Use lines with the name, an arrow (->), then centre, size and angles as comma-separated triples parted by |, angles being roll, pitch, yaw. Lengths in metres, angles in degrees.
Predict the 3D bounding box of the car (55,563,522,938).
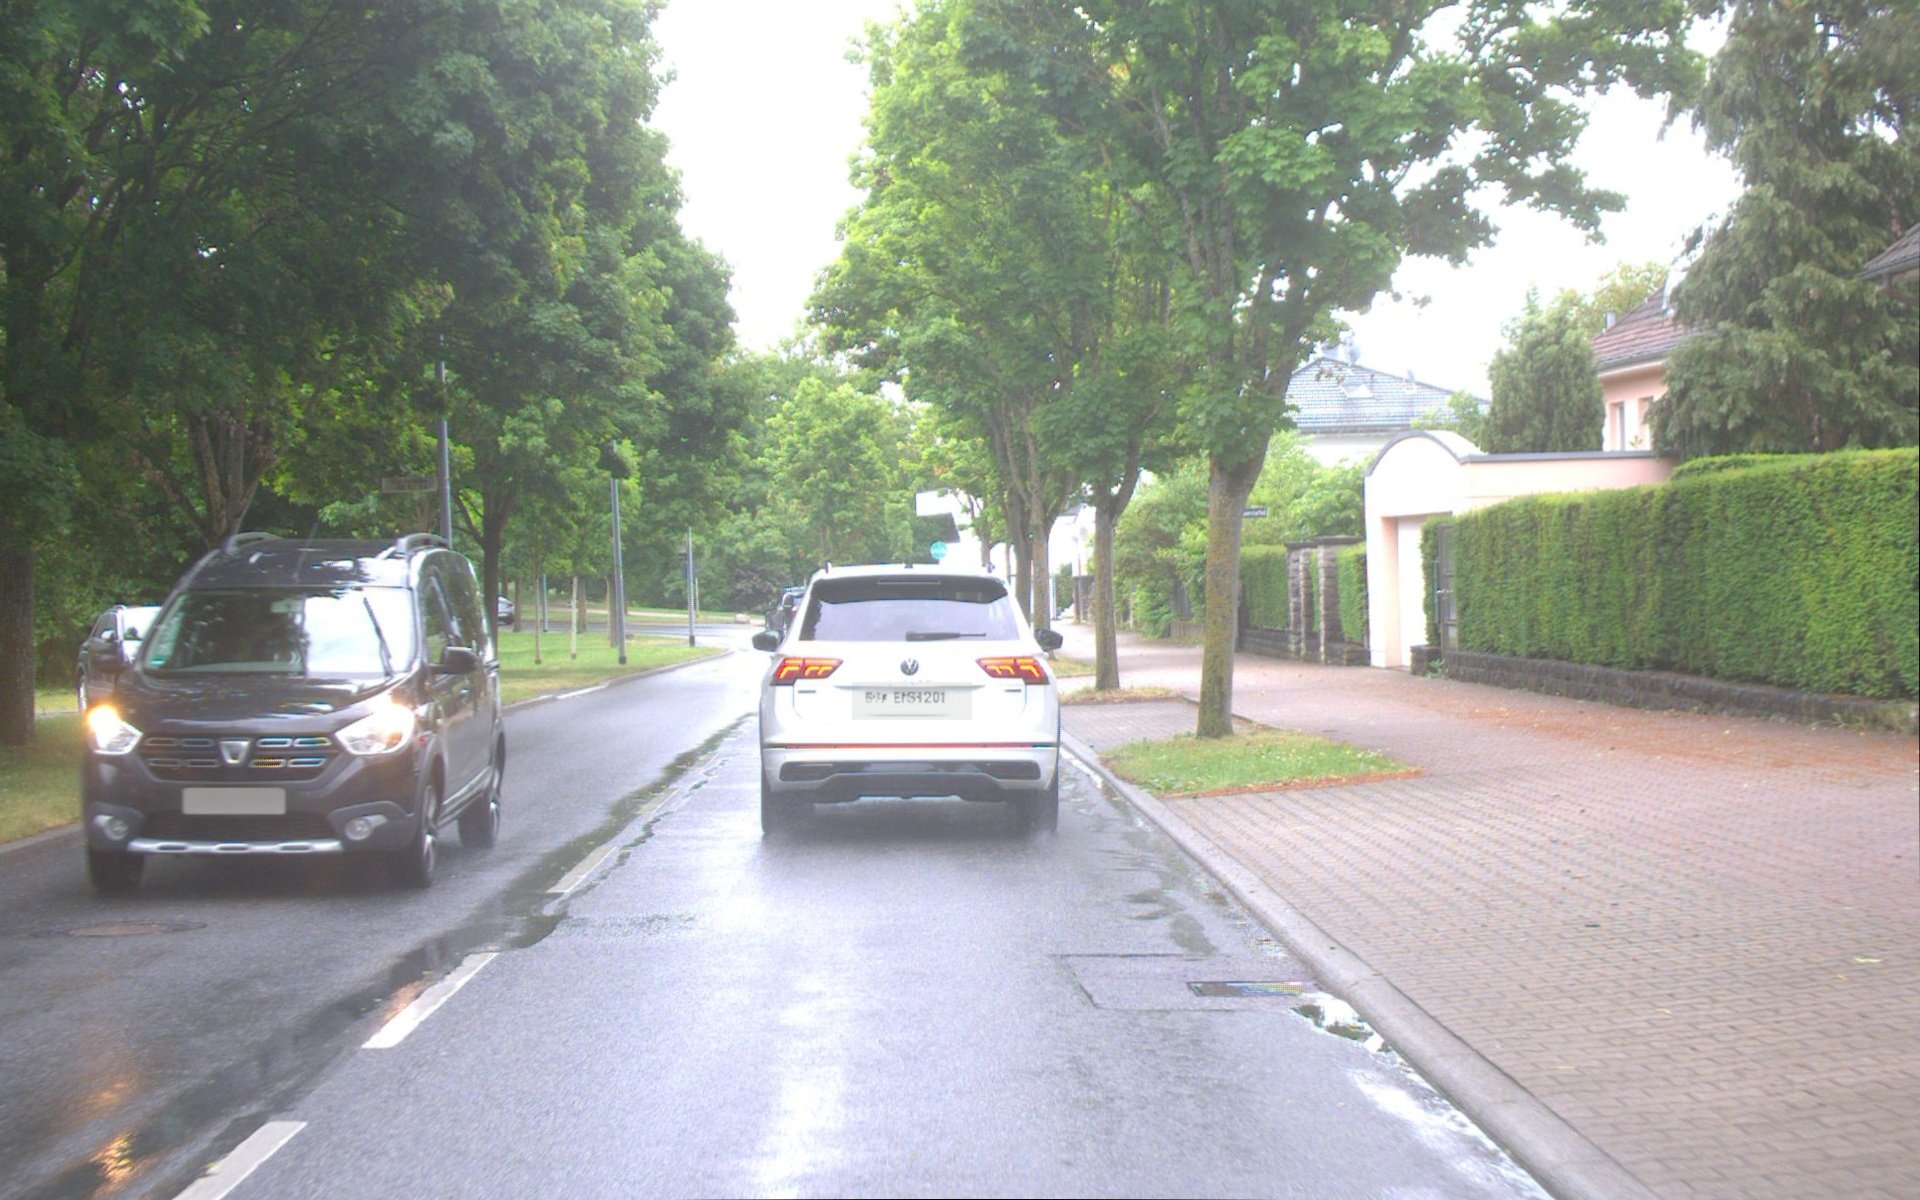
car -> -3.500, 0.717, 18.679 | 1.776, 1.767, 4.286 | -1, 0, -1

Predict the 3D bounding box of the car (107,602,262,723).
car -> -10.487, 0.807, 46.303 | 1.888, 1.509, 4.251 | -1, 0, -14

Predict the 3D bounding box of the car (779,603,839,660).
car -> -5.445, 1.127, 123.723 | 1.901, 2.007, 3.945 | 1, 0, -6

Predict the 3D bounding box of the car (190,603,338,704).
car -> -11.708, 0.866, 57.667 | 1.880, 1.425, 4.218 | -2, 3, -19

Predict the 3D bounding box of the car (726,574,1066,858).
car -> -0.384, 0.671, 22.120 | 1.974, 1.647, 4.177 | 0, 0, 0
